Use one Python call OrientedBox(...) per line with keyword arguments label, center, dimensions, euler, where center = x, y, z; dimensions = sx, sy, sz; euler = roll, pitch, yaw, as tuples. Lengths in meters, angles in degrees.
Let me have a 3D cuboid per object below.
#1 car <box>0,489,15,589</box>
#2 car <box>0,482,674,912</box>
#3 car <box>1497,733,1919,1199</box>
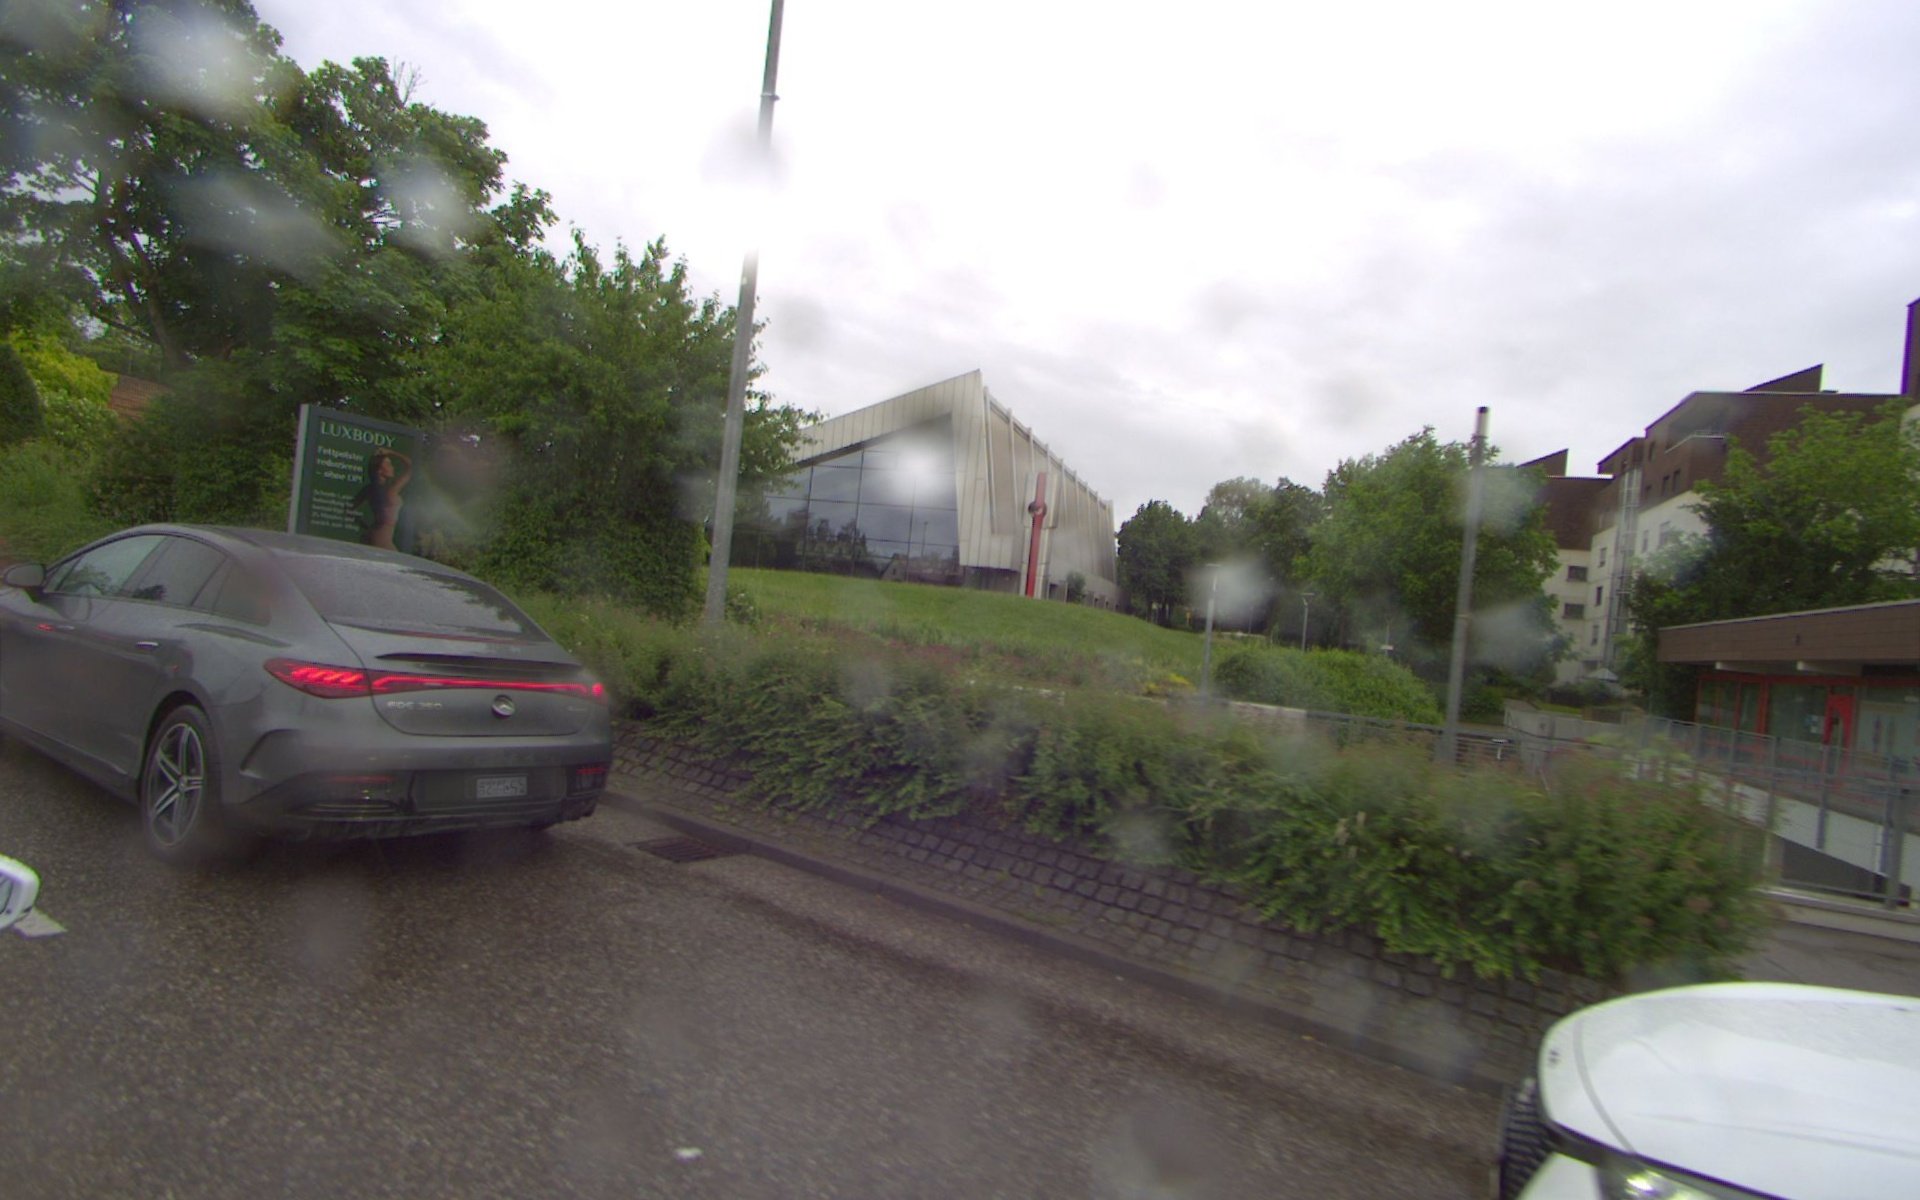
OrientedBox(label="car", center=(-11.798, -0.699, 10.354), dimensions=(4.277, 1.483, 1.842), euler=(8, -2, 31))
OrientedBox(label="car", center=(-4.122, 0.302, 5.912), dimensions=(4.728, 1.483, 1.842), euler=(8, -2, 31))
OrientedBox(label="car", center=(3.046, 1.249, 1.348), dimensions=(4.047, 1.432, 1.665), euler=(7, -1, 32))
